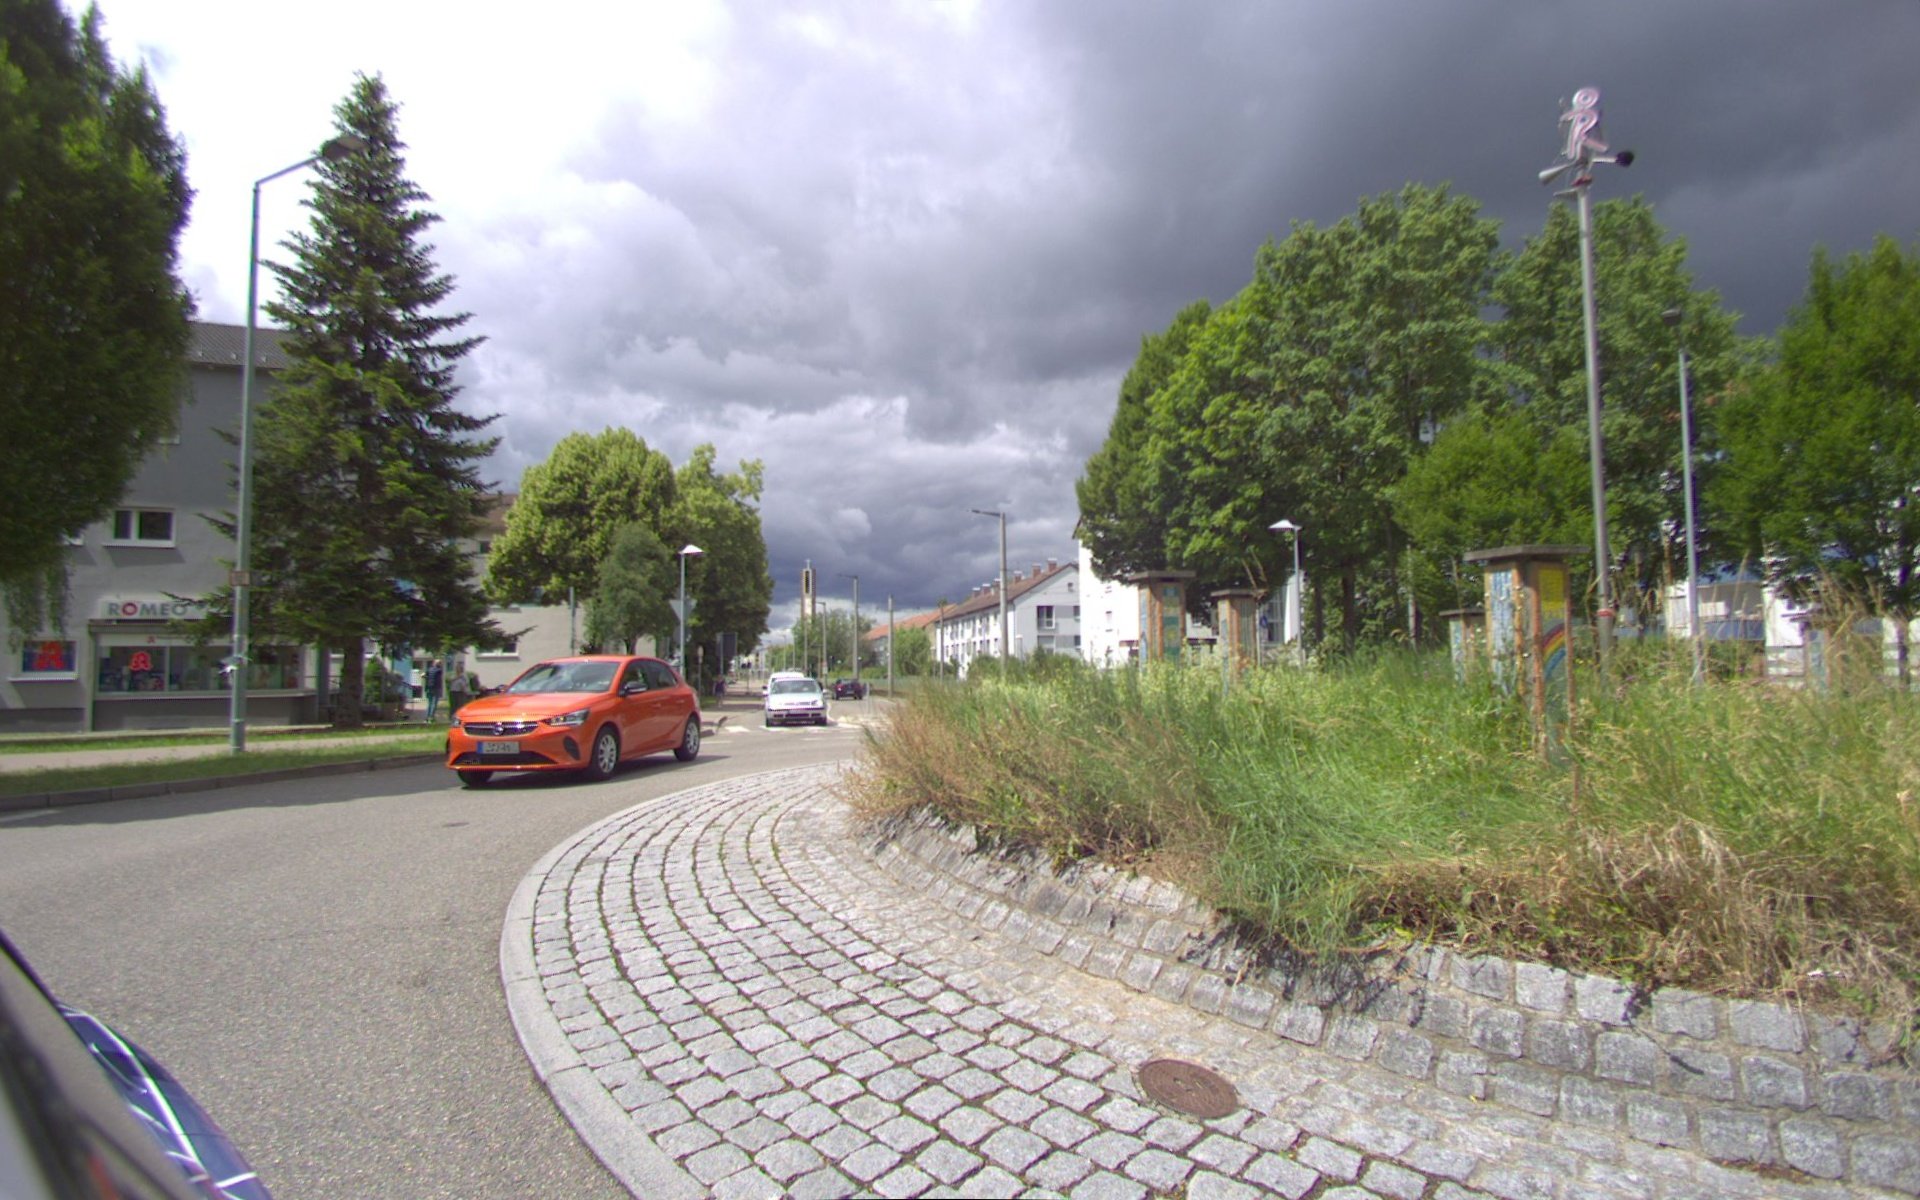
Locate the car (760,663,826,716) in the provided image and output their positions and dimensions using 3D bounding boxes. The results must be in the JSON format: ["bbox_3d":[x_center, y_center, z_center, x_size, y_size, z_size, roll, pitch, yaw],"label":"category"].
[{"bbox_3d":[-4.806,2.569,29.230,1.737,1.408,4.007,1,-5,-9],"label":"car"}]

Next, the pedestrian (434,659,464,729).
[{"bbox_3d":[-15.094,2.771,29.913,0.644,2.029,1.050,2,-5,-22],"label":"pedestrian"}]

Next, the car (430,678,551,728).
[{"bbox_3d":[-13.360,2.918,29.049,1.890,1.327,4.004,0,-5,-5],"label":"car"}]

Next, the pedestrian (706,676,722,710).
[{"bbox_3d":[-12.282,4.666,50.609,0.672,1.673,0.834,2,-5,-18],"label":"pedestrian"}]

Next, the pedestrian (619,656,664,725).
[{"bbox_3d":[-9.392,2.657,29.853,0.842,1.971,0.929,-5,-7,43],"label":"pedestrian"}]

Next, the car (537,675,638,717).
[{"bbox_3d":[-15.049,3.889,41.011,3.676,1.569,2.038,4,-6,-20],"label":"car"}]

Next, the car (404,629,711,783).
[{"bbox_3d":[-4.653,1.244,12.437,1.746,1.570,3.989,-1,-5,8],"label":"car"}]

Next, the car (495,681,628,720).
[{"bbox_3d":[-14.767,3.741,37.638,4.419,1.253,2.006,4,-6,-22],"label":"car"}]

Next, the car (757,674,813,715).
[{"bbox_3d":[-7.486,4.006,43.146,1.966,1.620,4.011,1,-5,-15],"label":"car"}]

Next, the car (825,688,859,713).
[{"bbox_3d":[-7.665,6.463,65.531,1.829,1.466,4.397,-1,-4,-11],"label":"car"}]

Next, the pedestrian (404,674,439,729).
[{"bbox_3d":[-15.412,2.907,28.987,0.731,1.541,0.693,1,-5,-18],"label":"pedestrian"}]

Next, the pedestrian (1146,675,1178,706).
[{"bbox_3d":[7.606,3.415,38.171,0.787,1.144,0.914,0,-4,-17],"label":"pedestrian"}]
